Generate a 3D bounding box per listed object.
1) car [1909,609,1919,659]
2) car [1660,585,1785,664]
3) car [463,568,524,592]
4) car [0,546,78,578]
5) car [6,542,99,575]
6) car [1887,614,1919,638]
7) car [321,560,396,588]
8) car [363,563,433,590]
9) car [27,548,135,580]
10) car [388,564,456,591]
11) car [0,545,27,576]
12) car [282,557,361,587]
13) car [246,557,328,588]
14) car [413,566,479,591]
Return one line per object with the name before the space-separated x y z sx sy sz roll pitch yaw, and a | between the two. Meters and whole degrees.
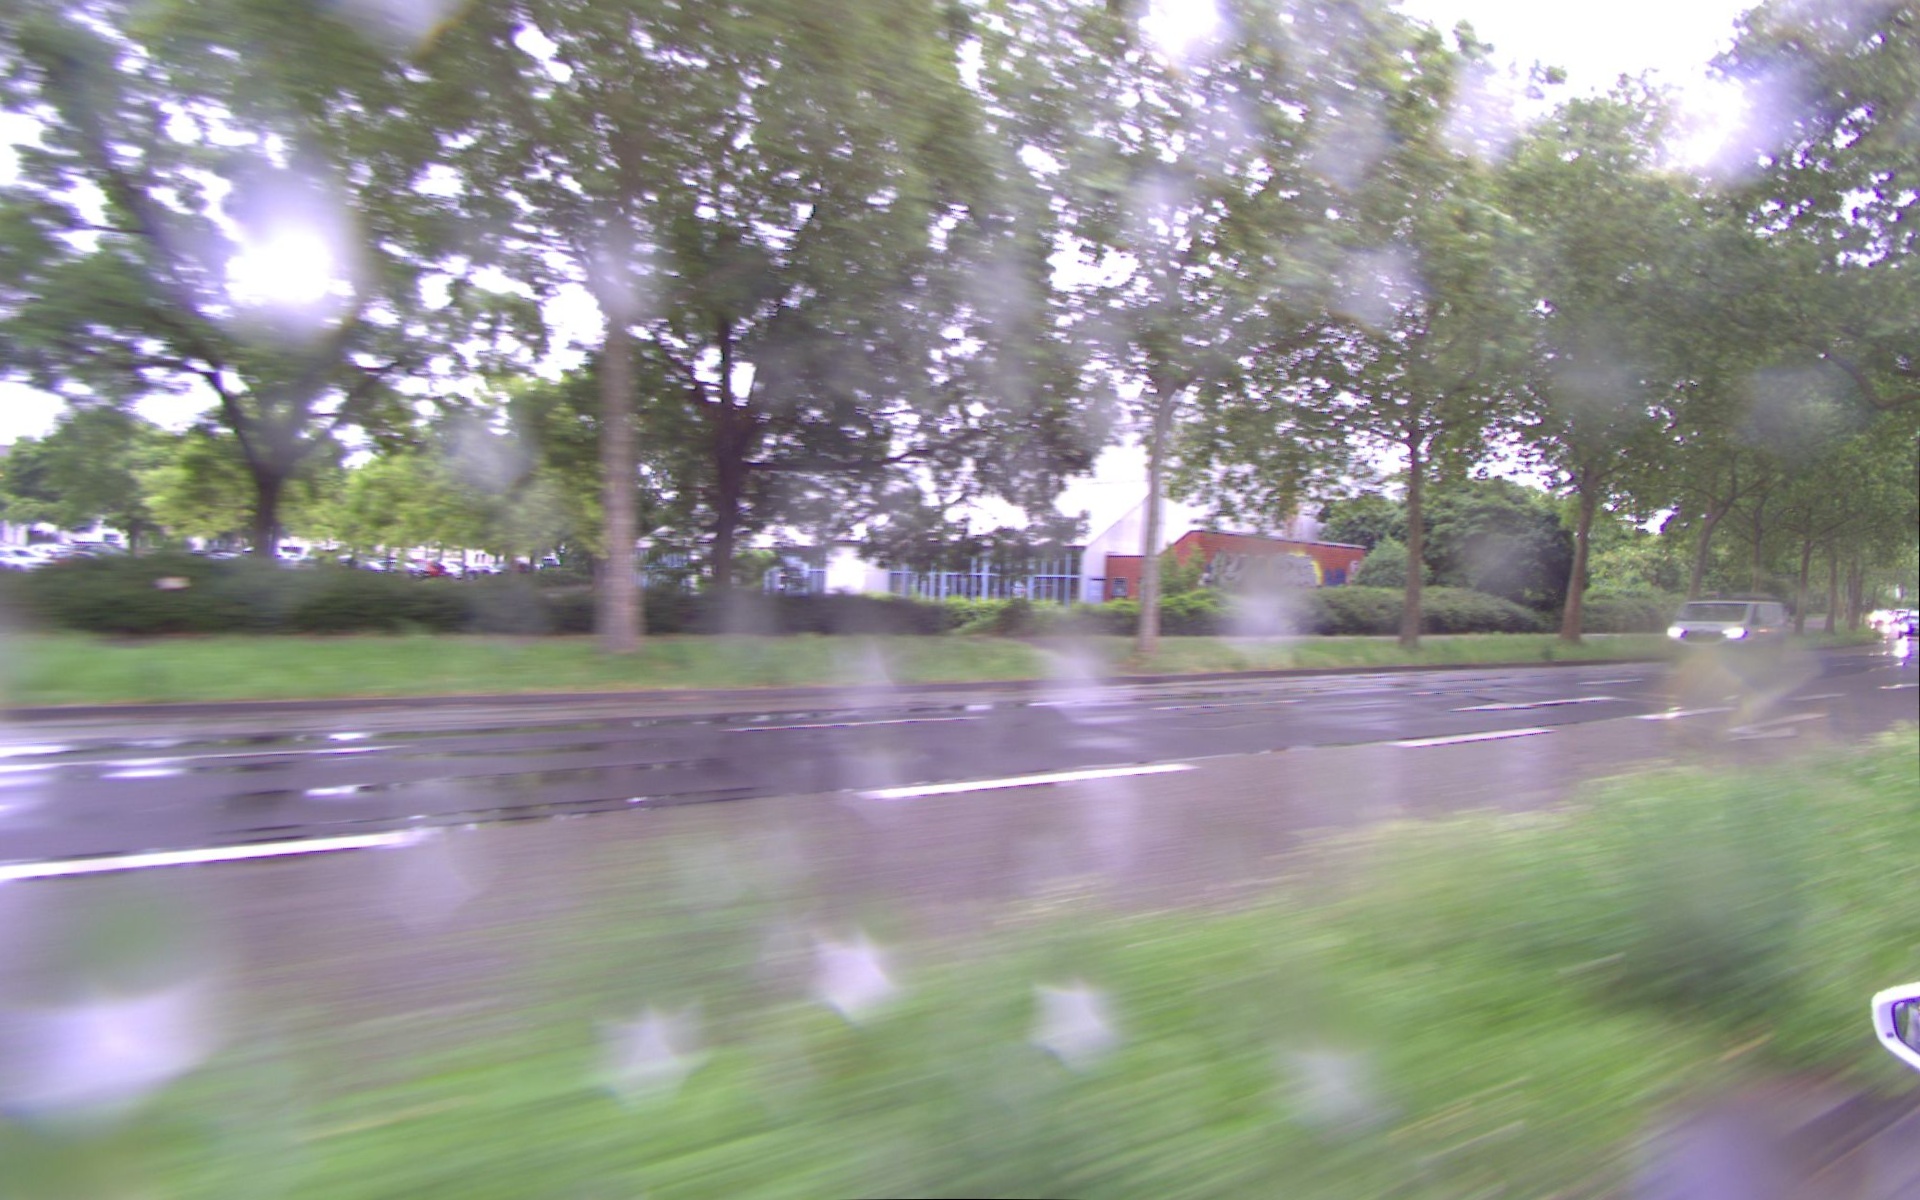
car | 35.628 1.243 35.891 4.916 1.759 2.012 1 1 -41
car | 23.836 0.734 31.319 5.391 2.256 2.012 1 1 -41
car | -41.011 -1.755 88.438 4.408 1.927 2.001 2 1 5
car | -49.508 -2.034 52.950 4.408 1.558 2.001 2 1 5
car | -58.761 -2.687 65.070 4.408 1.927 2.001 2 1 5
car | 67.379 1.846 71.473 4.337 1.582 1.727 1 1 -43
car | -44.951 -1.921 75.113 4.408 1.927 2.001 2 1 5
car | -43.842 -1.846 78.405 4.407 1.927 2.114 2 1 8
car | -48.594 -1.975 55.579 4.408 1.558 2.001 2 1 5
car | -43.603 -1.819 81.425 4.408 1.927 2.001 2 1 5
car | -50.182 -2.073 50.727 4.408 1.558 2.001 2 1 5
car | -45.530 -1.969 71.702 4.408 1.927 2.001 2 1 5
car | -46.321 -1.869 69.194 4.408 1.927 2.001 2 1 5
car | -42.881 -1.769 83.858 4.408 1.927 2.001 2 1 5
